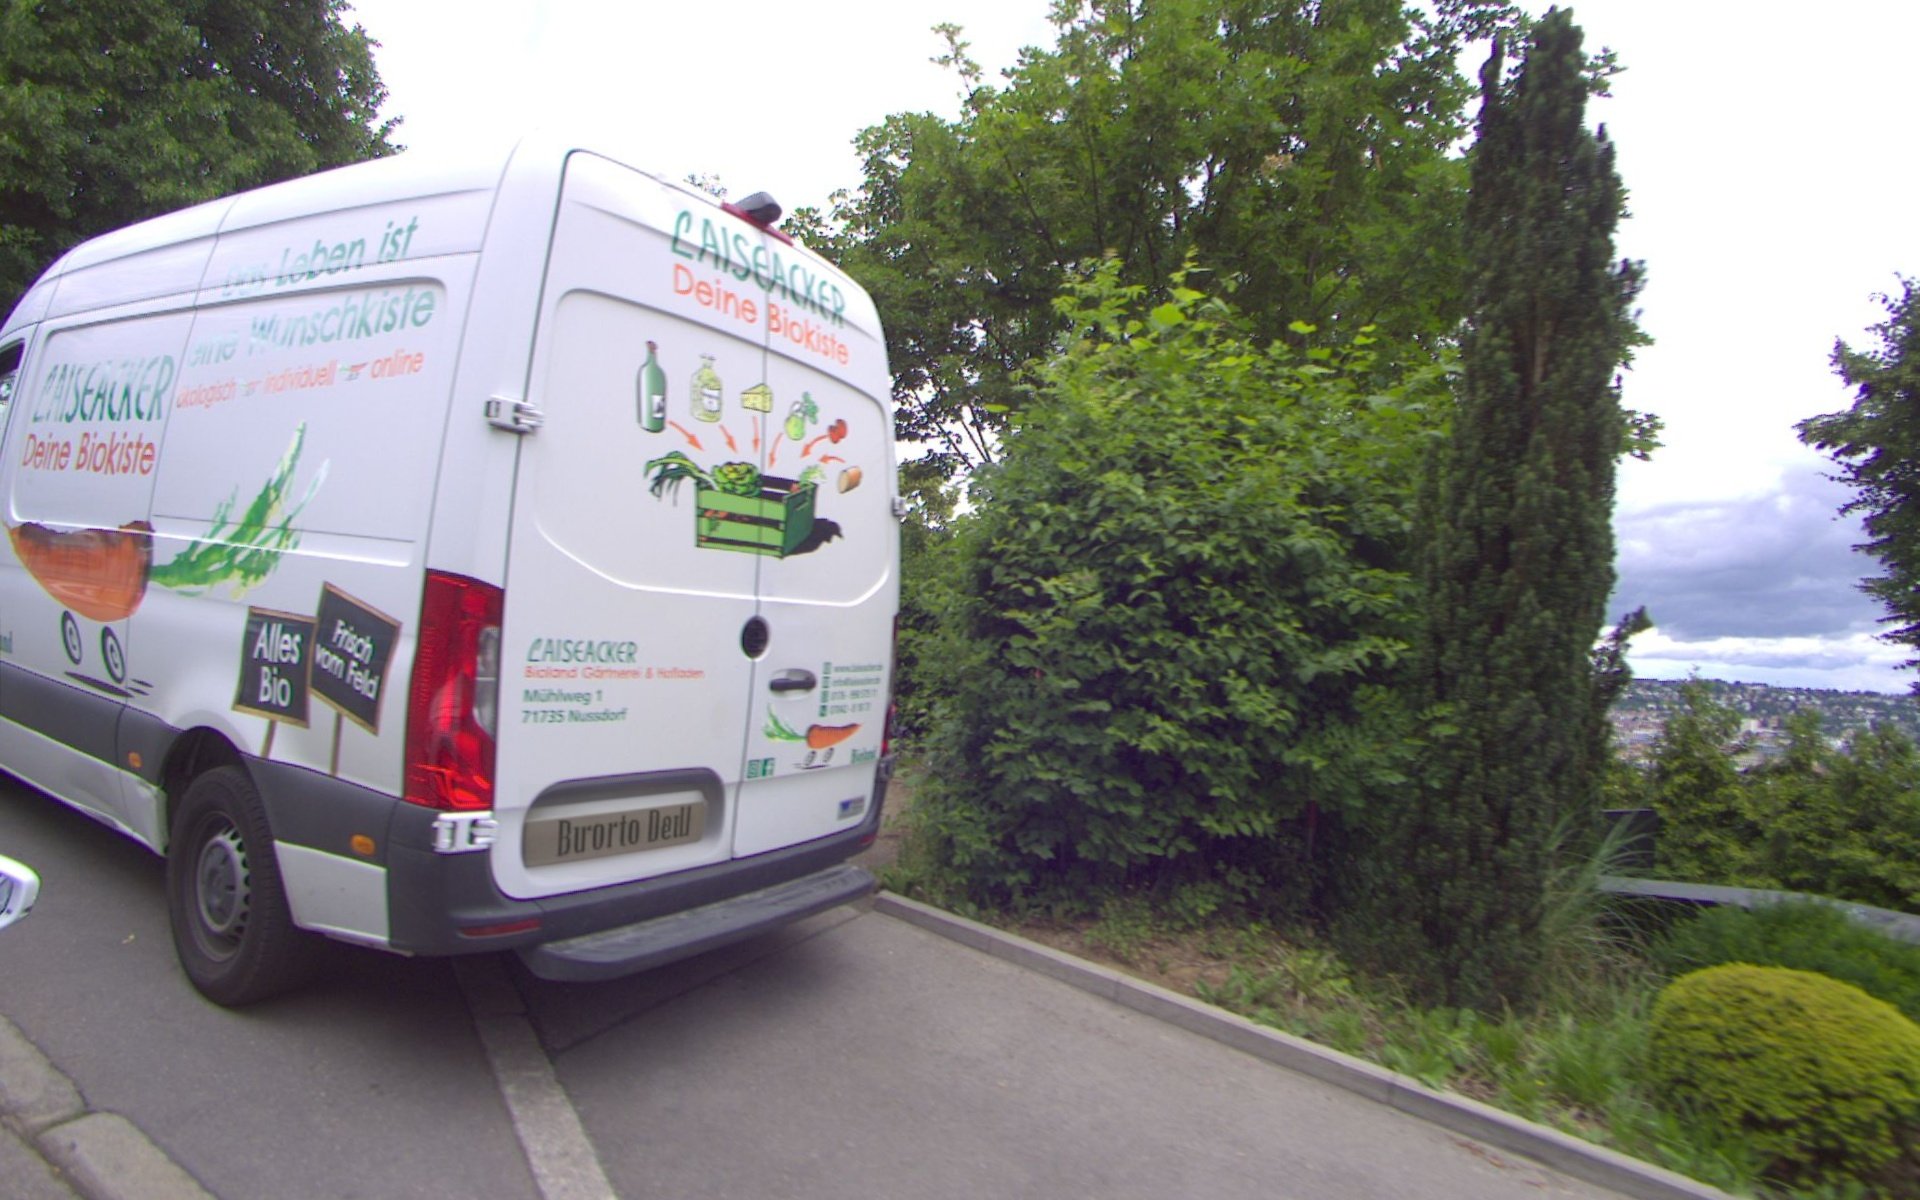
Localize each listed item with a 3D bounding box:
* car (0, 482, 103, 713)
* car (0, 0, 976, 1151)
[{"bbox_3d":[-7.994,-0.218,6.900,3.766,1.482,1.705,6,0,25],"label":"car"},{"bbox_3d":[-3.025,-0.245,4.639,5.748,2.555,2.086,6,1,32],"label":"car"}]
